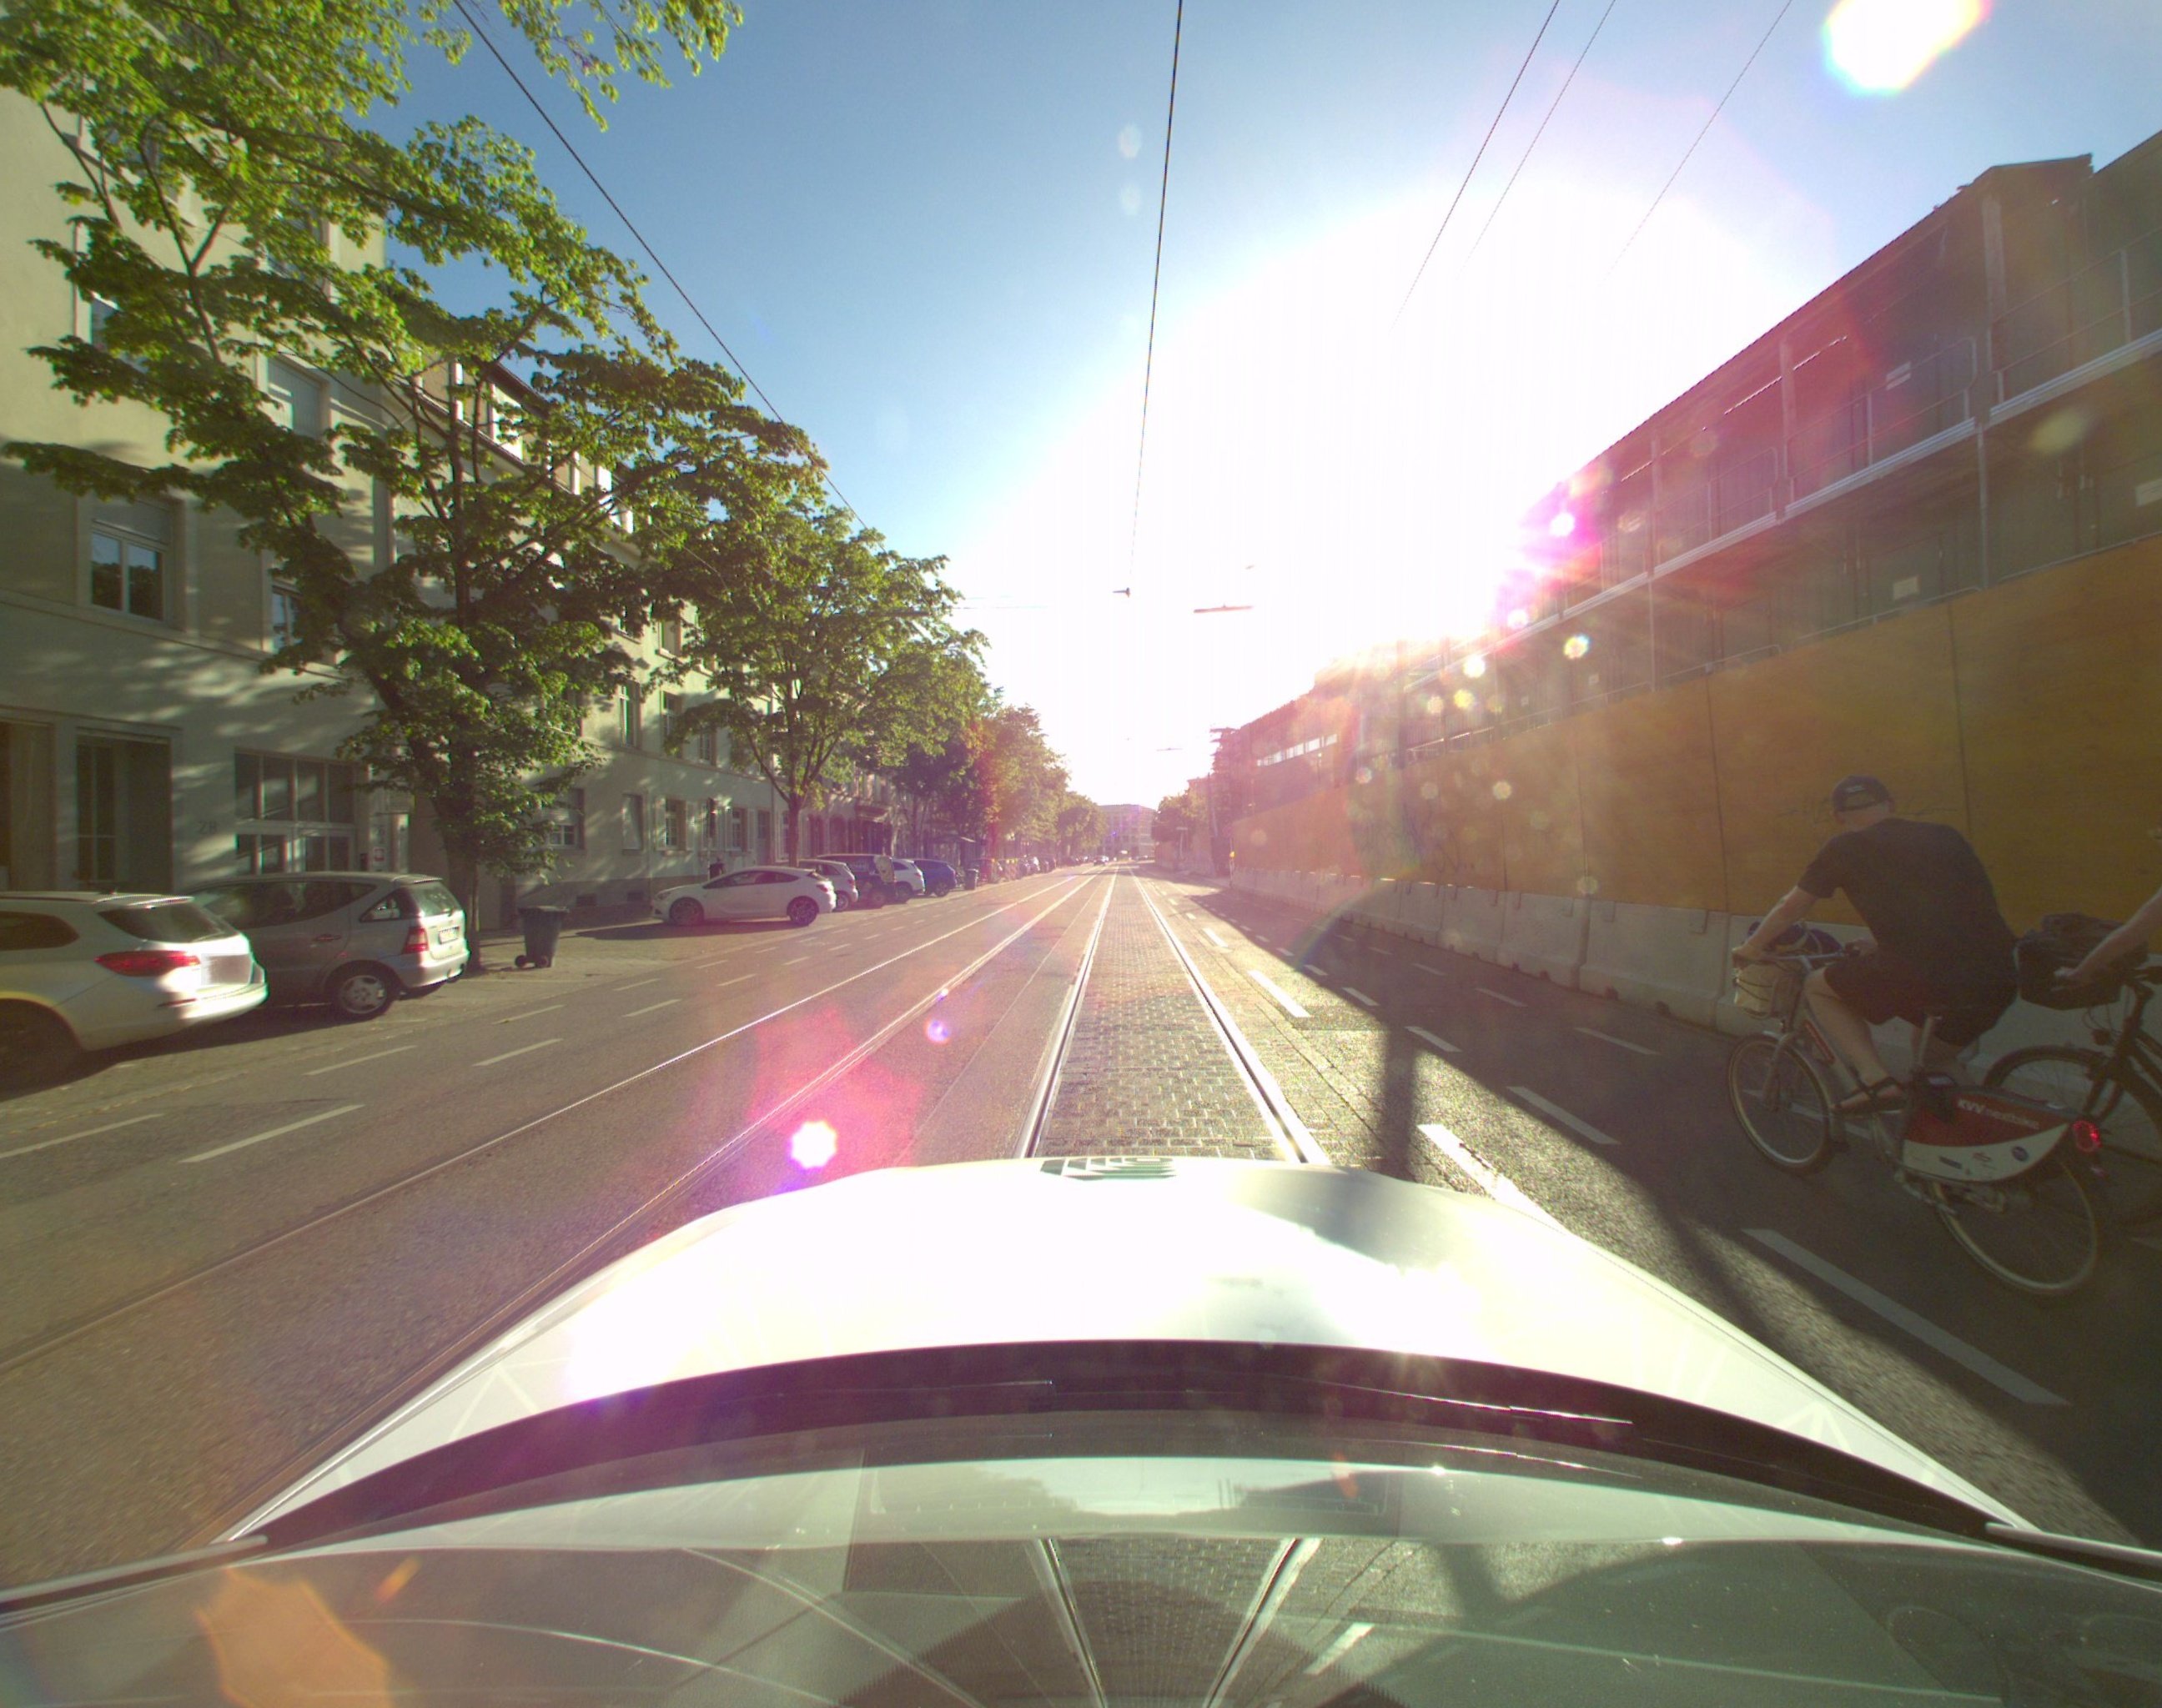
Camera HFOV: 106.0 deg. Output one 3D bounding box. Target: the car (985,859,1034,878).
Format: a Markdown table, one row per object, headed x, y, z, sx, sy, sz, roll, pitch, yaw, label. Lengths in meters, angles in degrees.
| x | y | z | sx | sy | sz | roll | pitch | yaw | label |
| --- | --- | --- | --- | --- | --- | --- | --- | --- | --- |
| -5.904 | 1.211 | 67.053 | 3.691 | 1.470 | 1.738 | 1 | -1 | -26 | car |

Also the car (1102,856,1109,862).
| x | y | z | sx | sy | sz | roll | pitch | yaw | label |
| --- | --- | --- | --- | --- | --- | --- | --- | --- | --- |
| 5.869 | 1.143 | 196.666 | 1.704 | 1.436 | 4.170 | -1 | 0 | 0 | car |

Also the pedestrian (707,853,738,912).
| x | y | z | sx | sy | sz | roll | pitch | yaw | label |
| --- | --- | --- | --- | --- | --- | --- | --- | --- | --- |
| -11.416 | 0.901 | 25.956 | 0.640 | 1.838 | 0.625 | -2 | -1 | 4 | pedestrian |

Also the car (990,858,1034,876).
| x | y | z | sx | sy | sz | roll | pitch | yaw | label |
| --- | --- | --- | --- | --- | --- | --- | --- | --- | --- |
| -5.925 | 1.152 | 69.910 | 3.379 | 1.493 | 1.600 | 1 | 0 | -26 | car |

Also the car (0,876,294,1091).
| x | y | z | sx | sy | sz | roll | pitch | yaw | label |
| --- | --- | --- | --- | --- | --- | --- | --- | --- | --- |
| -9.441 | 1.047 | 6.489 | 4.172 | 1.552 | 1.691 | -2 | 0 | -20 | car |

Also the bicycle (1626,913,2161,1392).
| x | y | z | sx | sy | sz | roll | pitch | yaw | label |
| --- | --- | --- | --- | --- | --- | --- | --- | --- | --- |
| 3.231 | 0.902 | 3.361 | 0.664 | 1.154 | 2.280 | 0 | 0 | 7 | bicycle |

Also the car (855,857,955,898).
| x | y | z | sx | sy | sz | roll | pitch | yaw | label |
| --- | --- | --- | --- | --- | --- | --- | --- | --- | --- |
| -7.658 | 0.992 | 35.527 | 3.918 | 1.609 | 1.557 | -2 | 0 | -34 | car |

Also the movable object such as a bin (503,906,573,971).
| x | y | z | sx | sy | sz | roll | pitch | yaw | label |
| --- | --- | --- | --- | --- | --- | --- | --- | --- | --- |
| -8.504 | 1.311 | 12.776 | 0.619 | 0.945 | 0.670 | -1 | 0 | 1 | movable object such as a bin |

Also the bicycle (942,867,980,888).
| x | y | z | sx | sy | sz | roll | pitch | yaw | label |
| --- | --- | --- | --- | --- | --- | --- | --- | --- | --- |
| -6.534 | 1.295 | 44.398 | 1.958 | 1.079 | 0.569 | 1 | 0 | 5 | bicycle |

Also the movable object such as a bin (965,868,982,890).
| x | y | z | sx | sy | sz | roll | pitch | yaw | label |
| --- | --- | --- | --- | --- | --- | --- | --- | --- | --- |
| -5.535 | 1.274 | 42.070 | 0.680 | 1.078 | 0.710 | 2 | 0 | 4 | movable object such as a bin |

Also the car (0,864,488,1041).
| x | y | z | sx | sy | sz | roll | pitch | yaw | label |
| --- | --- | --- | --- | --- | --- | --- | --- | --- | --- |
| -9.344 | 0.974 | 9.115 | 3.994 | 1.676 | 1.694 | 0 | 0 | -15 | car |

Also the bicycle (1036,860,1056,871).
| x | y | z | sx | sy | sz | roll | pitch | yaw | label |
| --- | --- | --- | --- | --- | --- | --- | --- | --- | --- |
| -3.540 | 1.143 | 82.838 | 1.969 | 1.144 | 0.490 | 1 | -1 | -16 | bicycle |

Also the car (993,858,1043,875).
| x | y | z | sx | sy | sz | roll | pitch | yaw | label |
| --- | --- | --- | --- | --- | --- | --- | --- | --- | --- |
| -5.657 | 1.136 | 72.804 | 4.122 | 1.512 | 1.826 | 1 | 0 | -24 | car |

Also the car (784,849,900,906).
| x | y | z | sx | sy | sz | roll | pitch | yaw | label |
| --- | --- | --- | --- | --- | --- | --- | --- | --- | --- |
| -8.147 | 0.841 | 27.828 | 3.456 | 1.843 | 1.716 | 2 | -4 | -31 | car |

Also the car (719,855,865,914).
| x | y | z | sx | sy | sz | roll | pitch | yaw | label |
| --- | --- | --- | --- | --- | --- | --- | --- | --- | --- |
| -8.933 | 0.927 | 25.199 | 4.009 | 1.656 | 1.794 | 1 | 0 | -28 | car |

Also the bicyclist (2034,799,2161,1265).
| x | y | z | sx | sy | sz | roll | pitch | yaw | label |
| --- | --- | --- | --- | --- | --- | --- | --- | --- | --- |
| 3.992 | 0.607 | 2.861 | 0.554 | 1.613 | 0.576 | -2 | 0 | 1 | bicyclist |

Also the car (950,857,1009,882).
| x | y | z | sx | sy | sz | roll | pitch | yaw | label |
| --- | --- | --- | --- | --- | --- | --- | --- | --- | --- |
| -6.827 | 1.027 | 54.805 | 3.629 | 1.553 | 1.656 | 1 | 1 | -24 | car |

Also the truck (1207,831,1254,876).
| x | y | z | sx | sy | sz | roll | pitch | yaw | label |
| --- | --- | --- | --- | --- | --- | --- | --- | --- | --- |
| 10.507 | -0.011 | 57.644 | 2.508 | 2.909 | 5.513 | -4 | -1 | 4 | truck |

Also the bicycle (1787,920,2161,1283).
| x | y | z | sx | sy | sz | roll | pitch | yaw | label |
| --- | --- | --- | --- | --- | --- | --- | --- | --- | --- |
| 4.016 | 0.921 | 3.156 | 0.555 | 1.127 | 2.276 | -2 | 0 | 0 | bicycle |

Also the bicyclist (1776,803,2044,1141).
| x | y | z | sx | sy | sz | roll | pitch | yaw | label |
| --- | --- | --- | --- | --- | --- | --- | --- | --- | --- |
| 3.247 | 0.440 | 3.218 | 0.649 | 1.238 | 0.353 | -2 | 0 | 0 | bicyclist |

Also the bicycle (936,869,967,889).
| x | y | z | sx | sy | sz | roll | pitch | yaw | label |
| --- | --- | --- | --- | --- | --- | --- | --- | --- | --- |
| -6.770 | 1.307 | 42.724 | 1.598 | 0.988 | 0.388 | 0 | 0 | -8 | bicycle |

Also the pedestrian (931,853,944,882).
| x | y | z | sx | sy | sz | roll | pitch | yaw | label |
| --- | --- | --- | --- | --- | --- | --- | --- | --- | --- |
| -10.009 | 0.928 | 56.916 | 0.728 | 2.014 | 0.557 | -1 | -1 | 4 | pedestrian |

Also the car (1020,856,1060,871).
| x | y | z | sx | sy | sz | roll | pitch | yaw | label |
| --- | --- | --- | --- | --- | --- | --- | --- | --- | --- |
| -4.284 | 0.977 | 84.793 | 3.863 | 1.476 | 1.834 | -2 | 0 | -16 | car |

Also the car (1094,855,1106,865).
| x | y | z | sx | sy | sz | roll | pitch | yaw | label |
| --- | --- | --- | --- | --- | --- | --- | --- | --- | --- |
| 3.294 | 1.018 | 138.410 | 1.920 | 1.629 | 4.251 | -4 | 0 | 2 | car |

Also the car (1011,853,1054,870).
| x | y | z | sx | sy | sz | roll | pitch | yaw | label |
| --- | --- | --- | --- | --- | --- | --- | --- | --- | --- |
| -5.173 | 0.783 | 87.343 | 4.247 | 1.685 | 1.800 | -2 | 0 | -18 | car |

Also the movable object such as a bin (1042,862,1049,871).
| x | y | z | sx | sy | sz | roll | pitch | yaw | label |
| --- | --- | --- | --- | --- | --- | --- | --- | --- | --- |
| -3.609 | 1.292 | 82.074 | 0.576 | 0.913 | 0.573 | 1 | 0 | -13 | movable object such as a bin |

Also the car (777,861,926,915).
| x | y | z | sx | sy | sz | roll | pitch | yaw | label |
| --- | --- | --- | --- | --- | --- | --- | --- | --- | --- |
| -8.604 | 1.199 | 30.650 | 4.959 | 1.794 | 2.186 | -1 | 0 | -33 | car |

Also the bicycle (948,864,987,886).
| x | y | z | sx | sy | sz | roll | pitch | yaw | label |
| --- | --- | --- | --- | --- | --- | --- | --- | --- | --- |
| -6.376 | 1.165 | 45.722 | 1.993 | 1.087 | 0.568 | 3 | 0 | 5 | bicycle |

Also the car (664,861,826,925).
| x | y | z | sx | sy | sz | roll | pitch | yaw | label |
| --- | --- | --- | --- | --- | --- | --- | --- | --- | --- |
| -8.496 | 0.993 | 20.951 | 3.644 | 1.530 | 1.875 | 2 | -1 | -17 | car |
